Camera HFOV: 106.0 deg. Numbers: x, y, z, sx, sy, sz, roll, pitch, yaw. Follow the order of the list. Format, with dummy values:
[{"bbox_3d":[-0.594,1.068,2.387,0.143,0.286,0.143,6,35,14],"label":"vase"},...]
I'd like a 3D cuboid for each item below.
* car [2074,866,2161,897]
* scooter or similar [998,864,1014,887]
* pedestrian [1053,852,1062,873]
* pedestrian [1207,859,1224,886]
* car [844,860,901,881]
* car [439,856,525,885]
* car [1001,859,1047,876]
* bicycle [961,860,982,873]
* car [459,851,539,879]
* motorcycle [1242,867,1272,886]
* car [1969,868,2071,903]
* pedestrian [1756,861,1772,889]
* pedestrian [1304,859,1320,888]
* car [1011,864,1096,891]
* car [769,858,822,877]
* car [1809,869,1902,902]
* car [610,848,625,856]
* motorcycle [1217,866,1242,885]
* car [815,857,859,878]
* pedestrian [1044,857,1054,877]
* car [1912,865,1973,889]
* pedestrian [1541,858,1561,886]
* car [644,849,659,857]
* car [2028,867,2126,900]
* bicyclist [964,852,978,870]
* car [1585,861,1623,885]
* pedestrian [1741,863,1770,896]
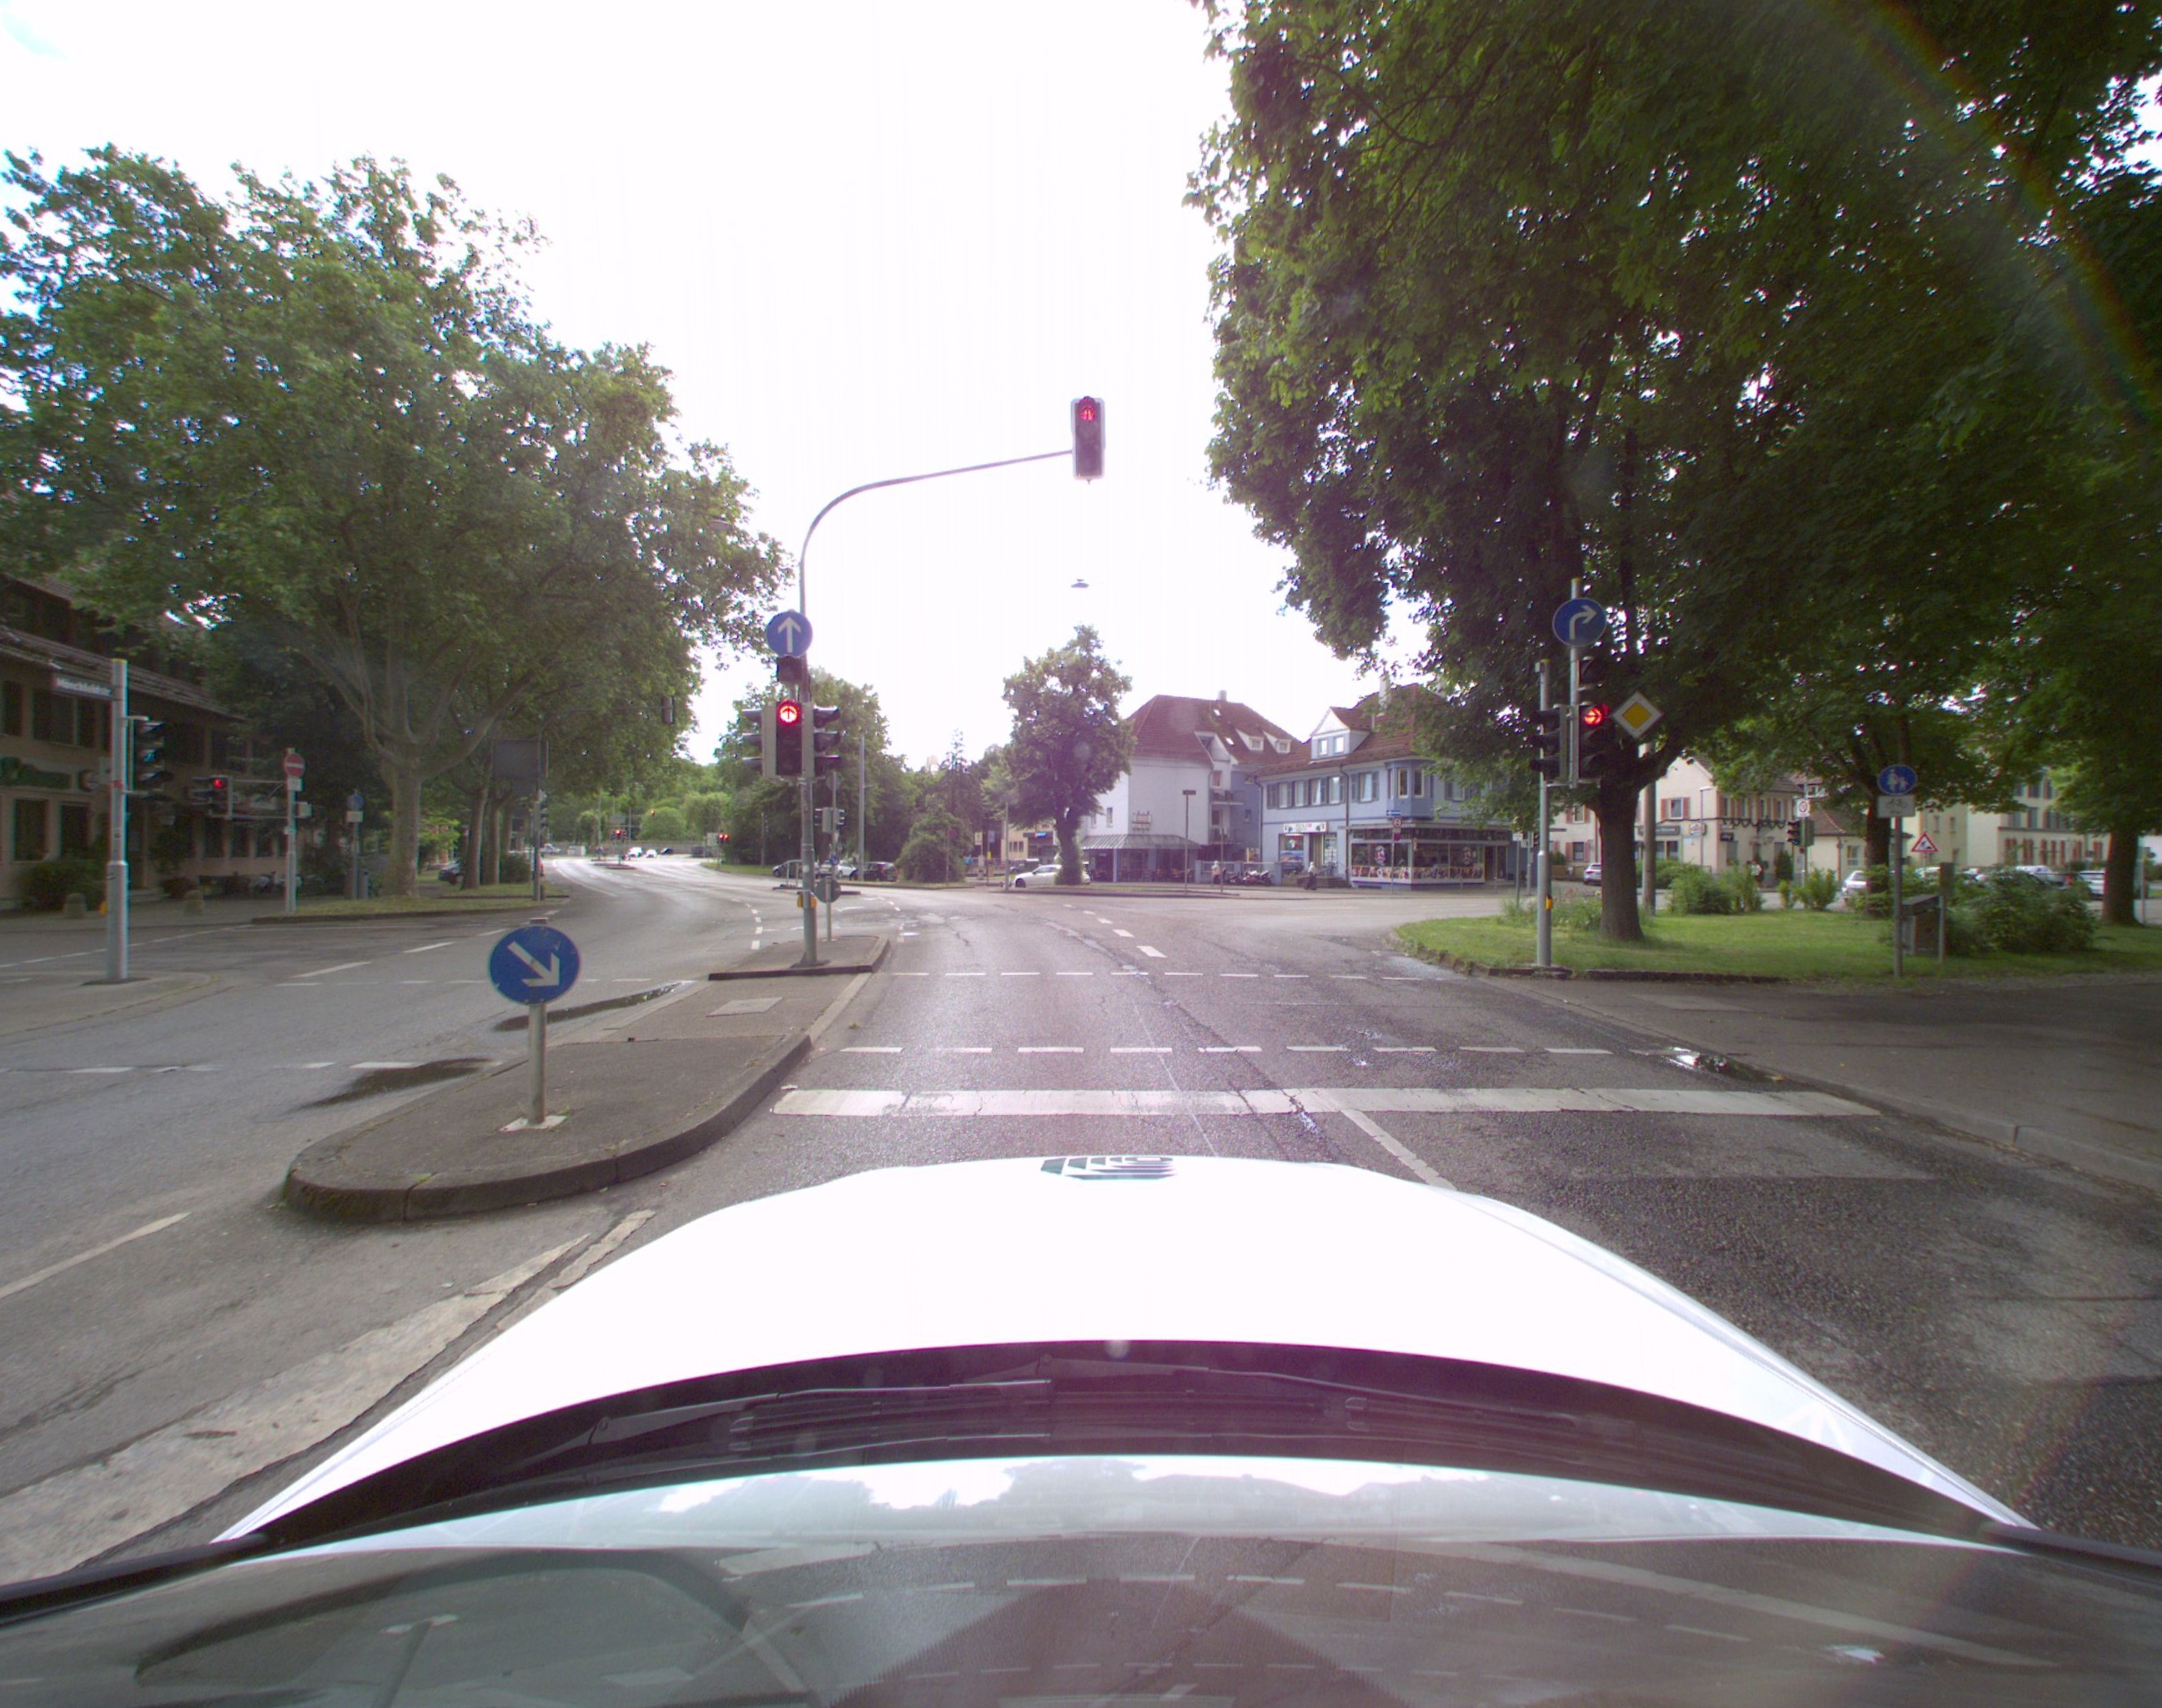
[{"bbox_3d":[52.597,1.373,41.249,3.731,1.457,1.640,0,0,-17],"label":"car"},{"bbox_3d":[-3.951,1.144,42.844,0.439,1.175,1.442,-1,-1,11],"label":"scooter or similar"},{"bbox_3d":[-1.727,0.623,59.452,0.538,1.560,0.470,-1,-1,15],"label":"pedestrian"},{"bbox_3d":[8.055,1.095,48.738,0.724,1.560,0.773,-1,-1,33],"label":"pedestrian"},{"bbox_3d":[-13.824,1.062,54.000,3.285,1.352,1.791,0,0,29],"label":"car"},{"bbox_3d":[-35.628,0.963,48.606,4.015,1.684,1.979,0,-1,-34],"label":"car"},{"bbox_3d":[-5.317,1.245,75.915,3.948,1.442,1.742,0,-1,-18],"label":"car"},{"bbox_3d":[-10.459,1.194,78.109,0.865,1.149,1.965,-1,-1,36],"label":"bicycle"},{"bbox_3d":[-36.458,0.688,51.176,4.015,1.684,1.979,0,-1,-34],"label":"car"},{"bbox_3d":[10.429,1.324,48.242,1.609,1.088,0.631,-1,-1,34],"label":"motorcycle"},{"bbox_3d":[42.347,1.382,36.749,3.731,1.457,1.640,0,0,-17],"label":"car"},{"bbox_3d":[39.349,1.203,46.929,0.504,1.560,0.507,0,-1,-13],"label":"pedestrian"},{"bbox_3d":[12.698,1.071,44.781,0.687,1.560,0.671,-1,-1,33],"label":"pedestrian"},{"bbox_3d":[-1.593,1.291,45.930,4.654,1.410,1.914,0,-1,37],"label":"car"},{"bbox_3d":[-22.587,1.036,64.515,3.742,1.465,1.629,0,0,20],"label":"car"},{"bbox_3d":[31.785,1.277,33.434,3.007,1.267,1.455,0,-1,-17],"label":"car"},{"bbox_3d":[-87.090,-0.341,153.064,3.293,1.486,1.594,-1,-2,43],"label":"car"},{"bbox_3d":[9.136,1.313,50.045,1.441,1.088,0.527,-1,-1,37],"label":"motorcycle"},{"bbox_3d":[-20.132,1.095,67.406,1.848,1.640,3.768,0,0,13],"label":"car"},{"bbox_3d":[-3.230,1.310,81.105,0.838,2.014,1.051,0,-1,-12],"label":"pedestrian"},{"bbox_3d":[55.606,1.468,52.542,3.871,1.447,1.753,0,-1,-28],"label":"car"},{"bbox_3d":[26.448,0.995,45.834,0.671,1.560,0.743,0,-1,-13],"label":"pedestrian"},{"bbox_3d":[-83.015,-0.205,157.461,2.988,1.417,1.509,-1,-2,42],"label":"car"},{"bbox_3d":[47.081,1.373,38.511,3.731,1.457,1.640,0,0,-17],"label":"car"},{"bbox_3d":[-10.524,0.678,78.057,0.906,1.651,0.995,-1,-1,36],"label":"bicyclist"},{"bbox_3d":[32.460,1.146,50.616,1.866,1.391,3.637,0,0,31],"label":"car"},{"bbox_3d":[22.050,0.823,26.611,0.505,1.081,0.514,0,-1,-13],"label":"pedestrian"}]
